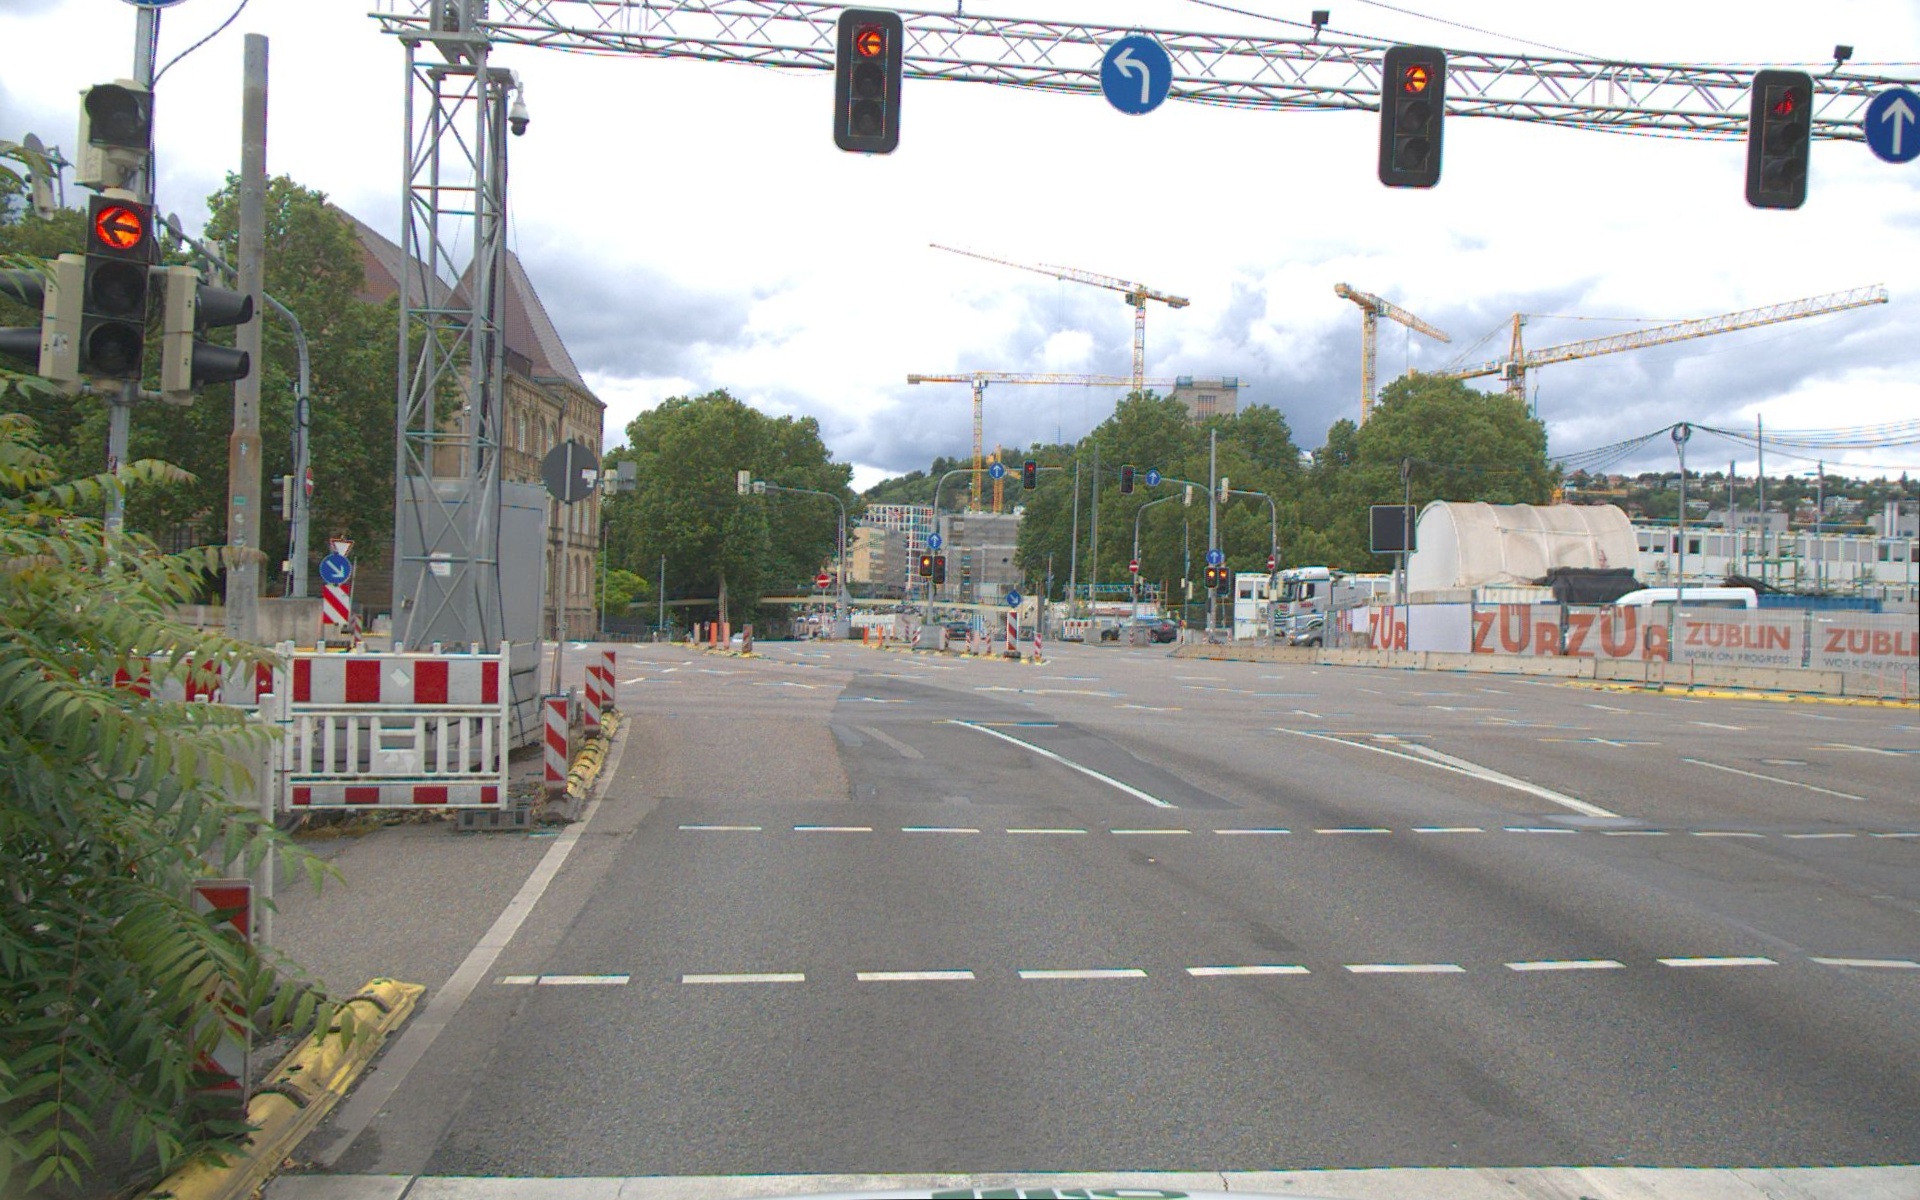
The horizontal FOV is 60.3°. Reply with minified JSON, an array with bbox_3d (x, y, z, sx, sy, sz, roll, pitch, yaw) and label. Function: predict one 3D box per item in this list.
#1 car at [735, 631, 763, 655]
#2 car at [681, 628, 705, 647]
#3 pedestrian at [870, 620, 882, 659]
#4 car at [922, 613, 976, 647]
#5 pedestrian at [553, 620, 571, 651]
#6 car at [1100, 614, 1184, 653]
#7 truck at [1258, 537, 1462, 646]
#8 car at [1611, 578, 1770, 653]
[{"bbox_3d":[-17.242,3.525,135.517,1.954,1.870,3.997,1,0,-3],"label":"car"},{"bbox_3d":[-27.420,3.882,170.086,1.954,1.870,3.997,1,0,-3],"label":"car"},{"bbox_3d":[-4.109,1.931,80.923,0.574,1.872,0.604,1,-1,-4],"label":"pedestrian"},{"bbox_3d":[-0.745,1.895,105.151,1.968,2.049,3.968,1,0,-25],"label":"car"},{"bbox_3d":[-26.435,2.342,109.909,0.930,2.049,0.766,1,-1,1],"label":"pedestrian"},{"bbox_3d":[10.065,1.850,91.607,4.183,2.049,1.997,1,0,29],"label":"car"},{"bbox_3d":[19.650,-0.366,81.286,9.565,5.047,3.097,1,-1,-19],"label":"truck"},{"bbox_3d":[21.054,0.446,47.815,3.902,2.049,2.001,1,0,15],"label":"car"}]
